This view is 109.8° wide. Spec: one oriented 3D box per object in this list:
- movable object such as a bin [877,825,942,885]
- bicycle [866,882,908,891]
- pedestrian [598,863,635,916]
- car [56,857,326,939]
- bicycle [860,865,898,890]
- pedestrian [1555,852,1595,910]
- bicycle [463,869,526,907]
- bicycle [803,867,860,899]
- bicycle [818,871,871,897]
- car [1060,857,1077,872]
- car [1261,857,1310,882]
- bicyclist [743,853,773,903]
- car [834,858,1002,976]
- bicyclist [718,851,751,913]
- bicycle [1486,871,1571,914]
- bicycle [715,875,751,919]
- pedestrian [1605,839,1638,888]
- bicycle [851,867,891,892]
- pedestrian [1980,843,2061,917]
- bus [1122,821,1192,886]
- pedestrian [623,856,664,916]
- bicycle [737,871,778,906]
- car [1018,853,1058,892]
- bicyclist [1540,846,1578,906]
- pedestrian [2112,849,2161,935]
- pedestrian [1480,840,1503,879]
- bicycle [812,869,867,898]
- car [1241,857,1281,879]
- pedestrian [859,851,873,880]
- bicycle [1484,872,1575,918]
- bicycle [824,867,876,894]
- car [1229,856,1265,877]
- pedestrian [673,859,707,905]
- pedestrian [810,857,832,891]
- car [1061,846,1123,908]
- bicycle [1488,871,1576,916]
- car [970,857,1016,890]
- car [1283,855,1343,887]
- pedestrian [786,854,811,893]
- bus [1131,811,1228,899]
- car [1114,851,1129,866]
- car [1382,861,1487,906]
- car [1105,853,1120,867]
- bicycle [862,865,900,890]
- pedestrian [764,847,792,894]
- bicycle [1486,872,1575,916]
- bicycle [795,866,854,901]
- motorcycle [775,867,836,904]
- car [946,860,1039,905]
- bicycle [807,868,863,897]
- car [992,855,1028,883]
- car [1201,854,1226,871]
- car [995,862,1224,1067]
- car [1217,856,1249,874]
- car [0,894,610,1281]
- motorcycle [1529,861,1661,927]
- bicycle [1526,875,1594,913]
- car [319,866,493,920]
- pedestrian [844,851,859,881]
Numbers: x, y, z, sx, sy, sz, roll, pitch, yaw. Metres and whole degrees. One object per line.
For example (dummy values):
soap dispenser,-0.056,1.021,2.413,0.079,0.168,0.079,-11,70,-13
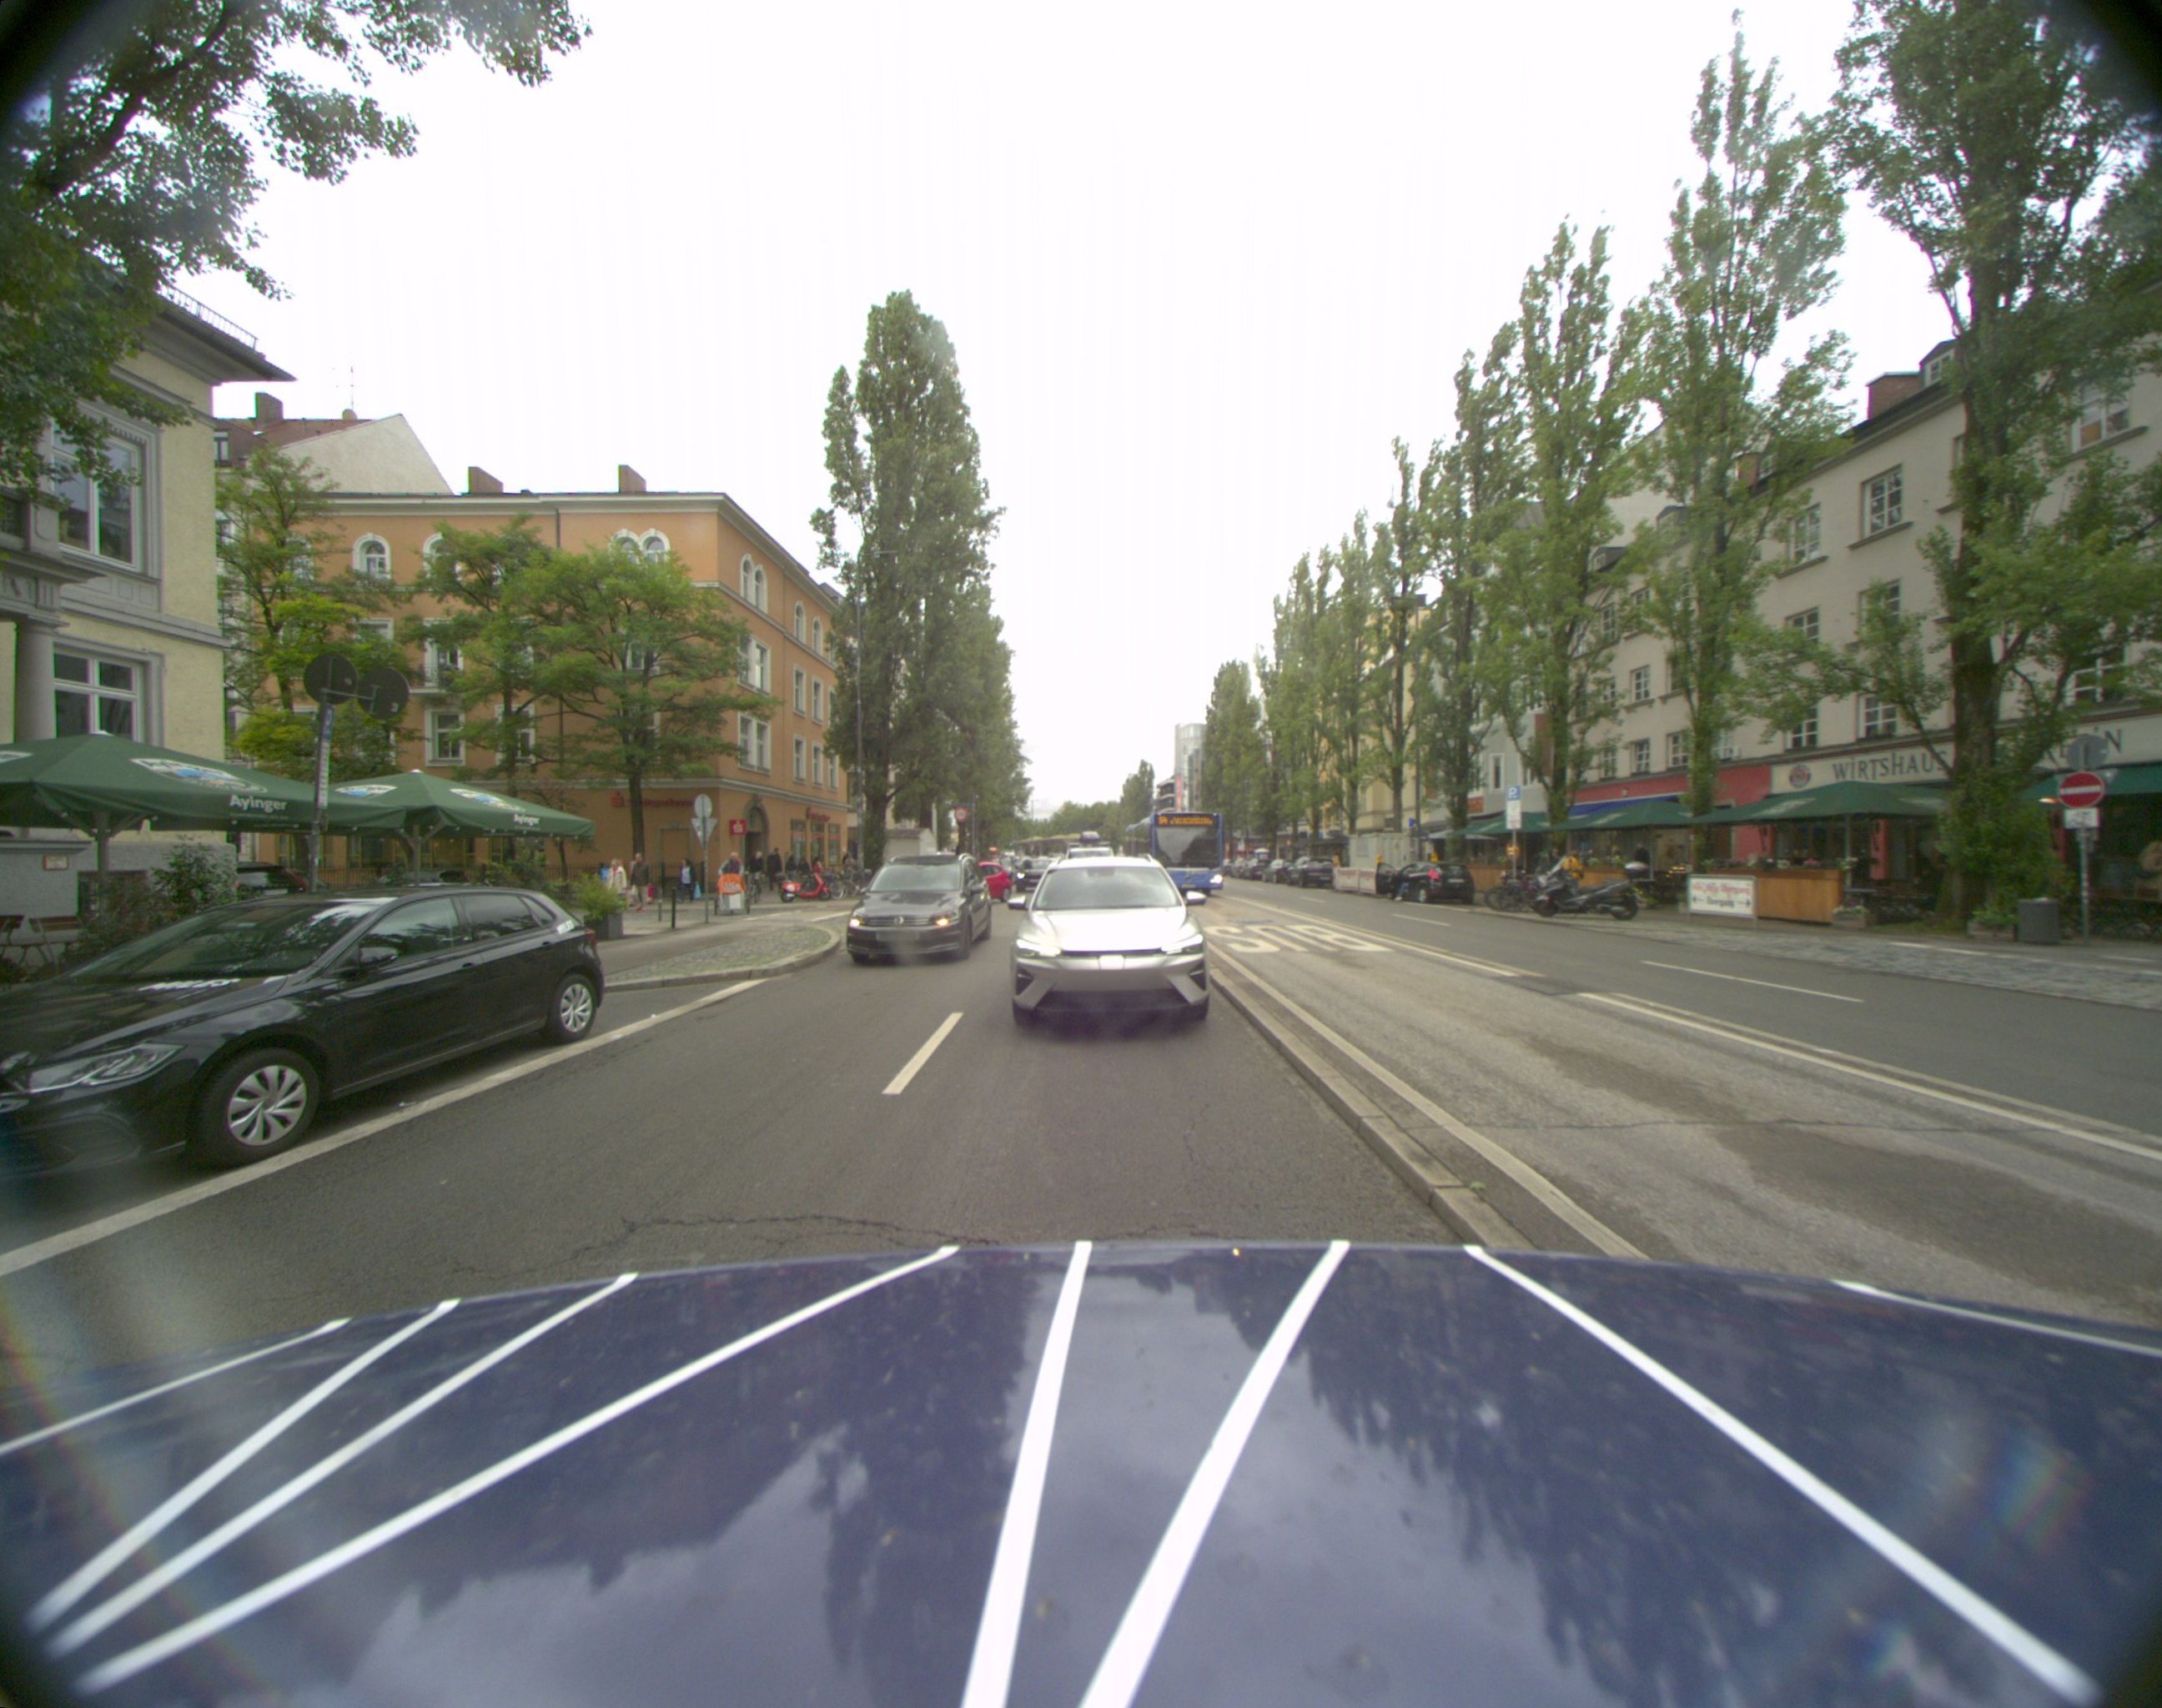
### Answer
movable object such as a bin,-9.424,0.060,42.217,2.445,3.119,4.543,1,0,1
bicycle,-8.520,1.430,33.400,1.677,0.371,0.830,1,0,-7
pedestrian,-14.360,1.086,23.485,0.699,1.562,0.575,-2,1,3
car,-21.427,1.025,18.409,4.425,1.692,1.971,-2,1,5
bicycle,-9.158,1.066,34.478,1.610,1.078,0.321,-1,1,-22
pedestrian,14.824,0.806,22.822,0.731,1.716,0.700,0,1,-2
bicycle,-22.365,1.306,28.994,1.945,1.364,0.561,-2,1,1
bicycle,-9.326,1.085,28.424,1.945,1.130,0.561,-1,1,1
bicycle,-9.465,1.182,30.419,1.945,1.004,0.561,-1,1,1
car,-1.381,1.137,85.712,1.789,1.604,4.498,-2,0,0
car,12.274,0.904,45.879,1.802,1.432,4.574,0,0,1
bicyclist,-11.101,0.820,26.115,0.741,1.677,0.748,-1,1,-7
car,-2.533,0.909,12.870,1.882,1.582,4.192,-2,0,0
bicyclist,-9.952,0.789,21.849,0.832,1.747,0.666,-1,1,-24
bicycle,12.261,1.057,20.866,1.976,1.119,0.343,-2,1,37
bicycle,-9.856,1.183,21.585,0.888,1.113,2.098,-1,0,-24
pedestrian,21.459,0.364,30.173,0.699,1.915,0.905,0,1,4
bicycle,-8.999,1.091,32.538,1.602,1.004,0.342,-1,1,-6
pedestrian,21.567,0.579,17.467,0.699,1.637,0.929,0,1,6
bus,3.704,-0.031,39.416,2.690,2.932,10.052,0,0,0
pedestrian,-13.204,0.952,22.942,0.699,1.756,0.732,-2,1,4
bicycle,-11.103,1.158,26.177,0.737,1.113,2.100,-1,0,-7
car,-2.057,0.818,35.679,1.707,1.683,4.001,-2,0,-5
bicyclist,13.798,0.632,21.943,0.606,1.695,0.816,-1,1,2
pedestrian,20.646,0.720,14.630,0.700,1.614,0.731,0,1,-15
pedestrian,20.576,0.271,38.111,0.699,1.915,0.905,0,1,4
bicycle,-9.479,1.150,29.819,1.945,1.069,0.561,-1,1,1
car,12.361,0.925,52.460,1.802,1.432,4.574,0,0,1
pedestrian,-12.399,0.663,43.855,0.619,1.684,0.574,-2,1,-8
bicycle,11.587,1.046,19.667,1.976,1.119,0.361,-2,1,37
bicycle,-9.456,1.096,31.171,1.945,1.078,0.561,-1,1,1
car,12.577,0.934,57.732,1.802,1.495,4.574,0,0,1
pedestrian,-13.722,0.981,26.688,0.745,1.562,0.664,-2,1,3
pedestrian,-12.157,0.921,35.544,0.745,1.562,0.614,-2,1,3
car,0.344,0.686,25.917,1.839,1.831,5.129,-2,1,0
bicycle,11.952,1.039,20.176,1.976,1.119,0.283,-2,1,37
car,-4.482,0.962,39.229,1.789,1.544,4.498,-2,0,0
car,12.126,0.842,39.963,1.802,1.603,4.574,0,0,1
pedestrian,-12.201,0.832,32.797,0.746,1.651,0.771,-2,1,-4
bus,3.647,0.013,30.626,2.696,2.932,10.052,0,0,0
car,5.534,0.574,104.400,1.998,2.002,4.000,0,0,1
car,12.209,0.968,26.538,1.760,1.414,3.784,1,0,-2
car,4.744,0.892,113.769,1.897,1.921,5.070,0,0,-1
bicycle,-9.002,1.036,34.146,1.604,1.078,0.341,-1,1,-22
pedestrian,-12.992,0.695,32.602,0.840,1.937,0.801,-2,1,-2
bicycle,11.778,1.041,19.951,1.976,1.119,0.283,-2,1,37
bicycle,-9.365,1.068,27.781,1.945,1.232,0.561,-1,1,1
motorcycle,-9.713,1.099,26.818,1.963,1.214,0.514,-1,1,-25
car,-3.114,0.999,27.553,1.614,1.425,4.009,-2,0,21
bicycle,-9.420,1.091,29.075,1.945,1.082,0.561,-1,1,1
car,-4.442,0.912,47.787,1.789,1.604,4.498,-2,0,0
car,12.882,0.837,73.926,1.802,1.568,4.104,0,0,1
car,0.227,0.891,7.992,1.742,1.510,4.033,-2,0,0
car,12.610,0.896,63.178,1.802,1.432,4.574,0,0,1
car,-5.250,1.093,5.130,1.698,1.408,3.951,-1,0,-1
motorcycle,11.960,0.881,17.789,0.747,1.406,2.448,0,0,-33
bicycle,13.794,1.132,21.943,0.613,0.963,2.174,-1,0,1
car,-22.267,1.270,25.191,3.997,1.511,1.906,-2,1,-1
pedestrian,-13.079,0.677,43.339,0.634,1.684,0.574,-2,1,-6
